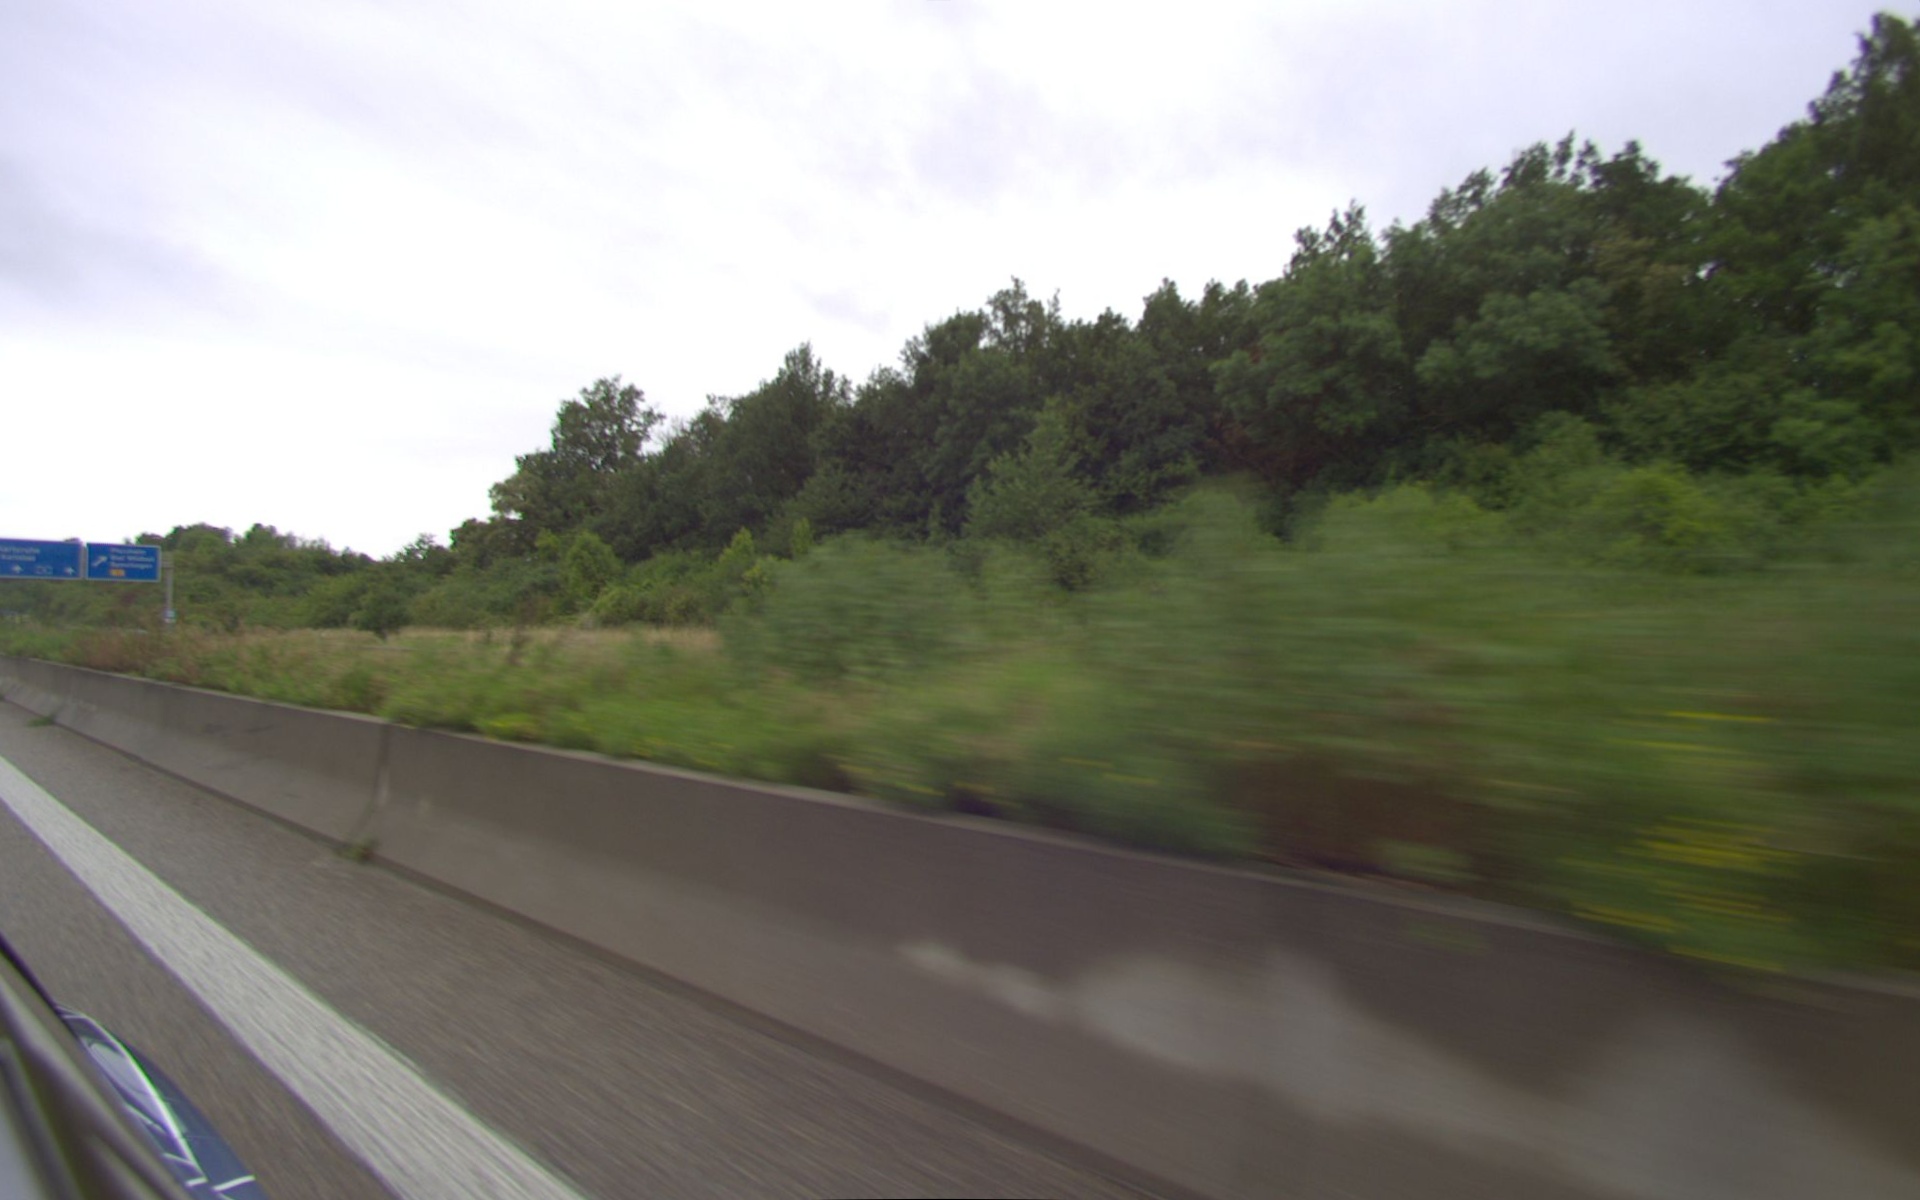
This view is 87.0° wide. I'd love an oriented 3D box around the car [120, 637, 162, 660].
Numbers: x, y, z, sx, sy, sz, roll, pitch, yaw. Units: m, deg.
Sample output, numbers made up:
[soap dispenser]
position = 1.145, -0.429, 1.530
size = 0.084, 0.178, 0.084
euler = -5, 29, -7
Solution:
[car]
position = -55.667, 3.291, 68.764
size = 3.474, 1.497, 1.642
euler = -1, -3, 41
